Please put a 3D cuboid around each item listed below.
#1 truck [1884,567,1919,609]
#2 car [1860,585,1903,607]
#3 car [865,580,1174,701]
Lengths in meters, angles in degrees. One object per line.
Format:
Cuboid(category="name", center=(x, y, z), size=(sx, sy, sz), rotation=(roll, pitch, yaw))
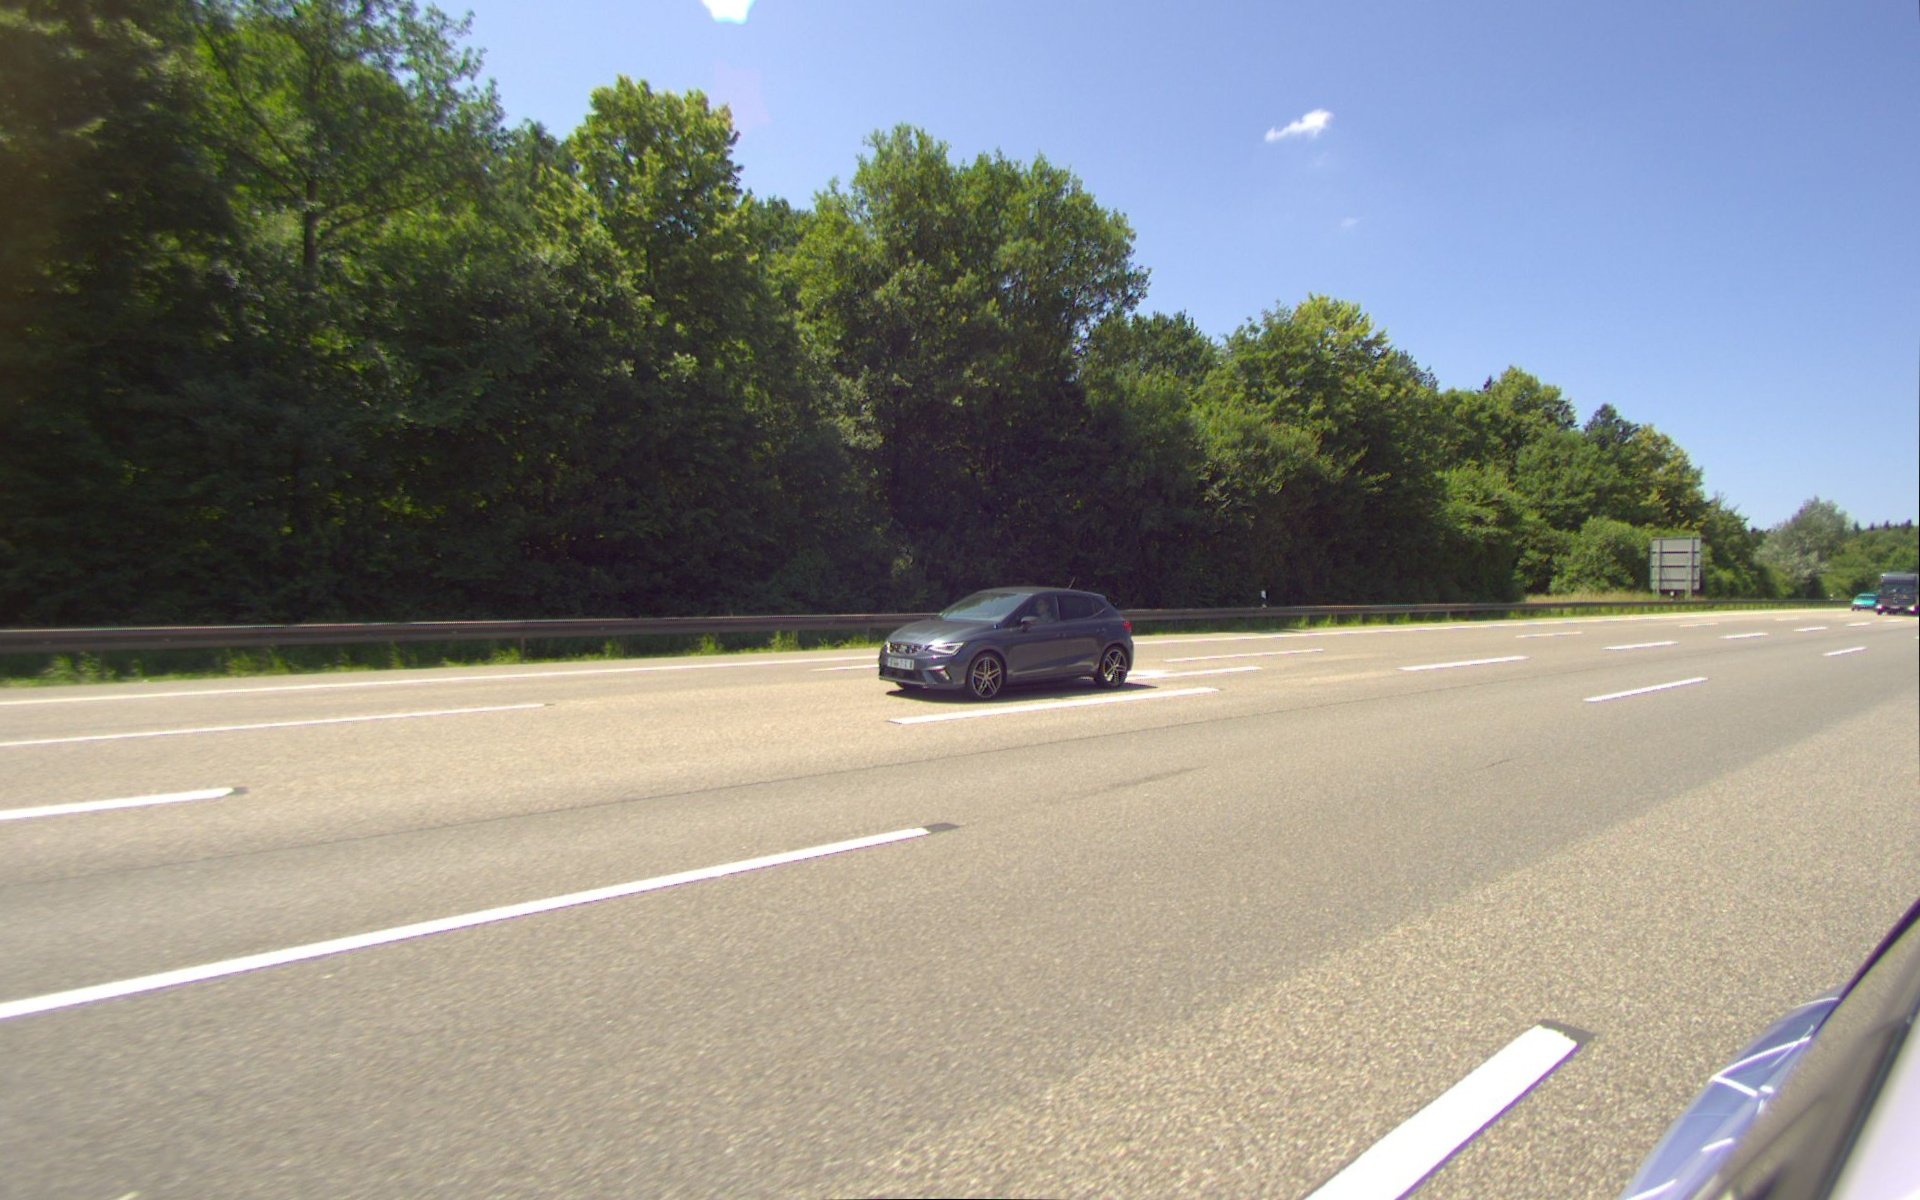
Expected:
Cuboid(category="truck", center=(70.651, -0.896, 74.200), size=(10.689, 2.891, 2.660), rotation=(0, 2, -39))
Cuboid(category="car", center=(76.293, -0.350, 83.760), size=(4.053, 1.701, 1.998), rotation=(0, 2, -39))
Cuboid(category="car", center=(0.985, 0.462, 14.386), size=(4.555, 1.456, 1.646), rotation=(-1, 2, -41))
